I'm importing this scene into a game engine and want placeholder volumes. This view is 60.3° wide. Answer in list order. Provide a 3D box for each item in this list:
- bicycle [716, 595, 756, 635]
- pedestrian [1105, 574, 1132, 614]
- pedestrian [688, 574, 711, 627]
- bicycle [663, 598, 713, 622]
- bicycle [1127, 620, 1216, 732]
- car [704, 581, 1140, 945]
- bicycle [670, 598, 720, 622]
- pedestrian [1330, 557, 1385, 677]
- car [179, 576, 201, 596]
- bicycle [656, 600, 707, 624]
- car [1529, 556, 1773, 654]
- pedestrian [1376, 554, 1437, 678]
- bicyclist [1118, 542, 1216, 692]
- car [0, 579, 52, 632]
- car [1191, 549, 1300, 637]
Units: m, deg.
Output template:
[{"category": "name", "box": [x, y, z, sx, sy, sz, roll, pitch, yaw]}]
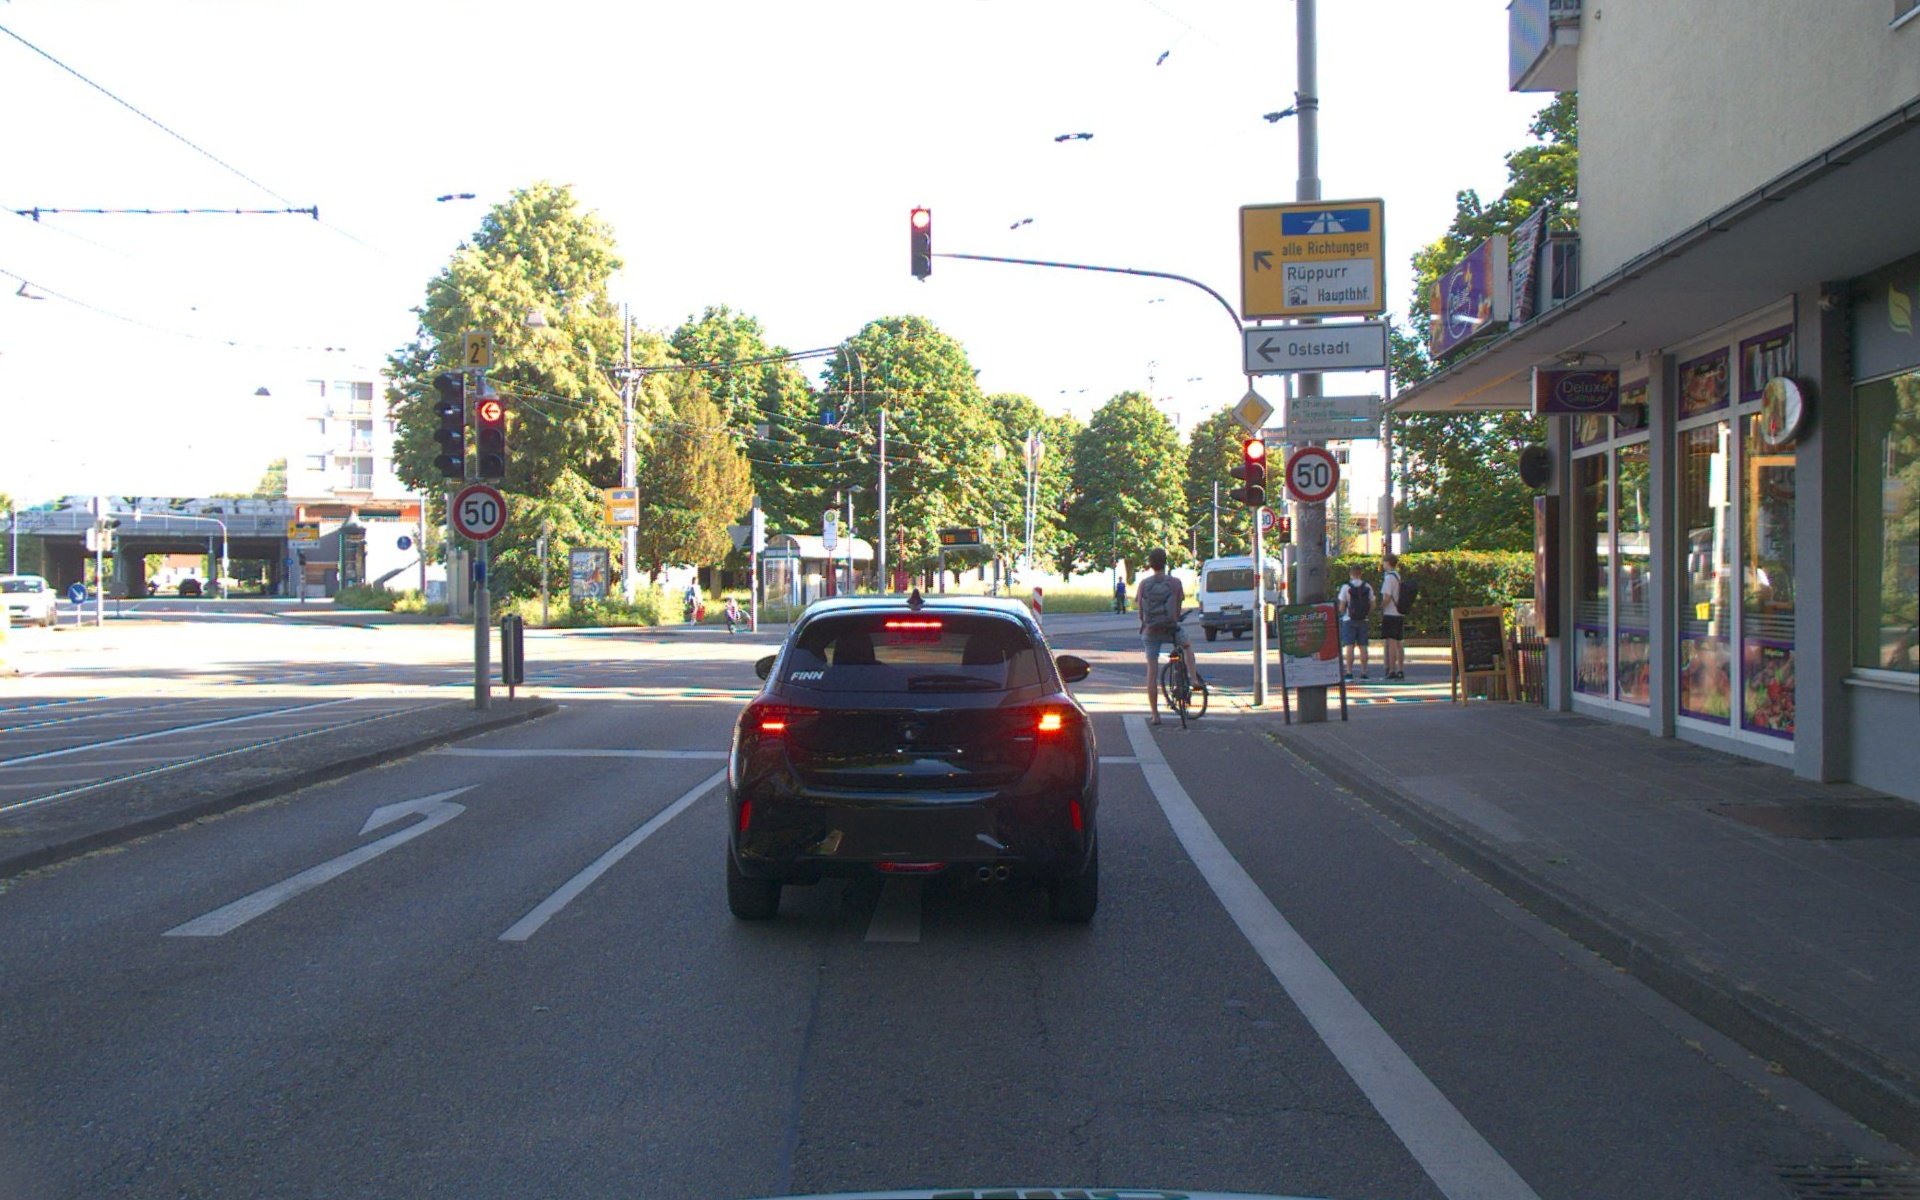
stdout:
[{"category": "bicycle", "box": [-6.286, 0.402, 46.524, 0.808, 1.078, 1.883, 0, 1, 2]}, {"category": "pedestrian", "box": [7.333, -0.273, 76.524, 0.939, 1.824, 0.995, 0, 0, 25]}, {"category": "pedestrian", "box": [-8.532, 0.011, 54.091, 0.712, 1.722, 0.699, 0, 0, -11]}, {"category": "bicycle", "box": [-10.635, 0.402, 64.649, 1.837, 0.922, 0.660, 0, 0, 6]}, {"category": "bicycle", "box": [2.233, 0.777, 17.650, 0.653, 1.078, 2.082, 0, 1, -1]}, {"category": "car", "box": [-0.131, 0.642, 8.691, 1.763, 1.466, 3.940, 0, 1, 1]}, {"category": "bicycle", "box": [-10.502, 0.407, 65.522, 1.837, 0.922, 0.660, 0, 0, 6]}, {"category": "pedestrian", "box": [6.139, 0.251, 25.562, 0.684, 1.823, 0.617, 0, 0, -1]}, {"category": "car", "box": [-81.627, -1.435, 175.413, 1.970, 2.049, 3.965, 1, 0, -27]}, {"category": "bicycle", "box": [-10.714, 0.457, 63.663, 1.837, 0.922, 0.660, 0, 0, 6]}, {"category": "car", "box": [13.559, 0.127, 32.645, 4.087, 1.846, 1.807, 0, -2, 8]}, {"category": "pedestrian", "box": [6.918, 0.236, 25.618, 0.691, 1.878, 0.697, 0, 0, 39]}, {"category": "bicyclist", "box": [2.193, 0.169, 17.670, 0.823, 1.536, 1.368, 0, 0, -3]}, {"category": "car", "box": [-31.510, 0.151, 55.134, 1.974, 1.660, 4.582, -1, 1, -31]}, {"category": "car", "box": [8.027, -0.177, 46.141, 2.047, 2.317, 4.304, 1, 0, 23]}]
